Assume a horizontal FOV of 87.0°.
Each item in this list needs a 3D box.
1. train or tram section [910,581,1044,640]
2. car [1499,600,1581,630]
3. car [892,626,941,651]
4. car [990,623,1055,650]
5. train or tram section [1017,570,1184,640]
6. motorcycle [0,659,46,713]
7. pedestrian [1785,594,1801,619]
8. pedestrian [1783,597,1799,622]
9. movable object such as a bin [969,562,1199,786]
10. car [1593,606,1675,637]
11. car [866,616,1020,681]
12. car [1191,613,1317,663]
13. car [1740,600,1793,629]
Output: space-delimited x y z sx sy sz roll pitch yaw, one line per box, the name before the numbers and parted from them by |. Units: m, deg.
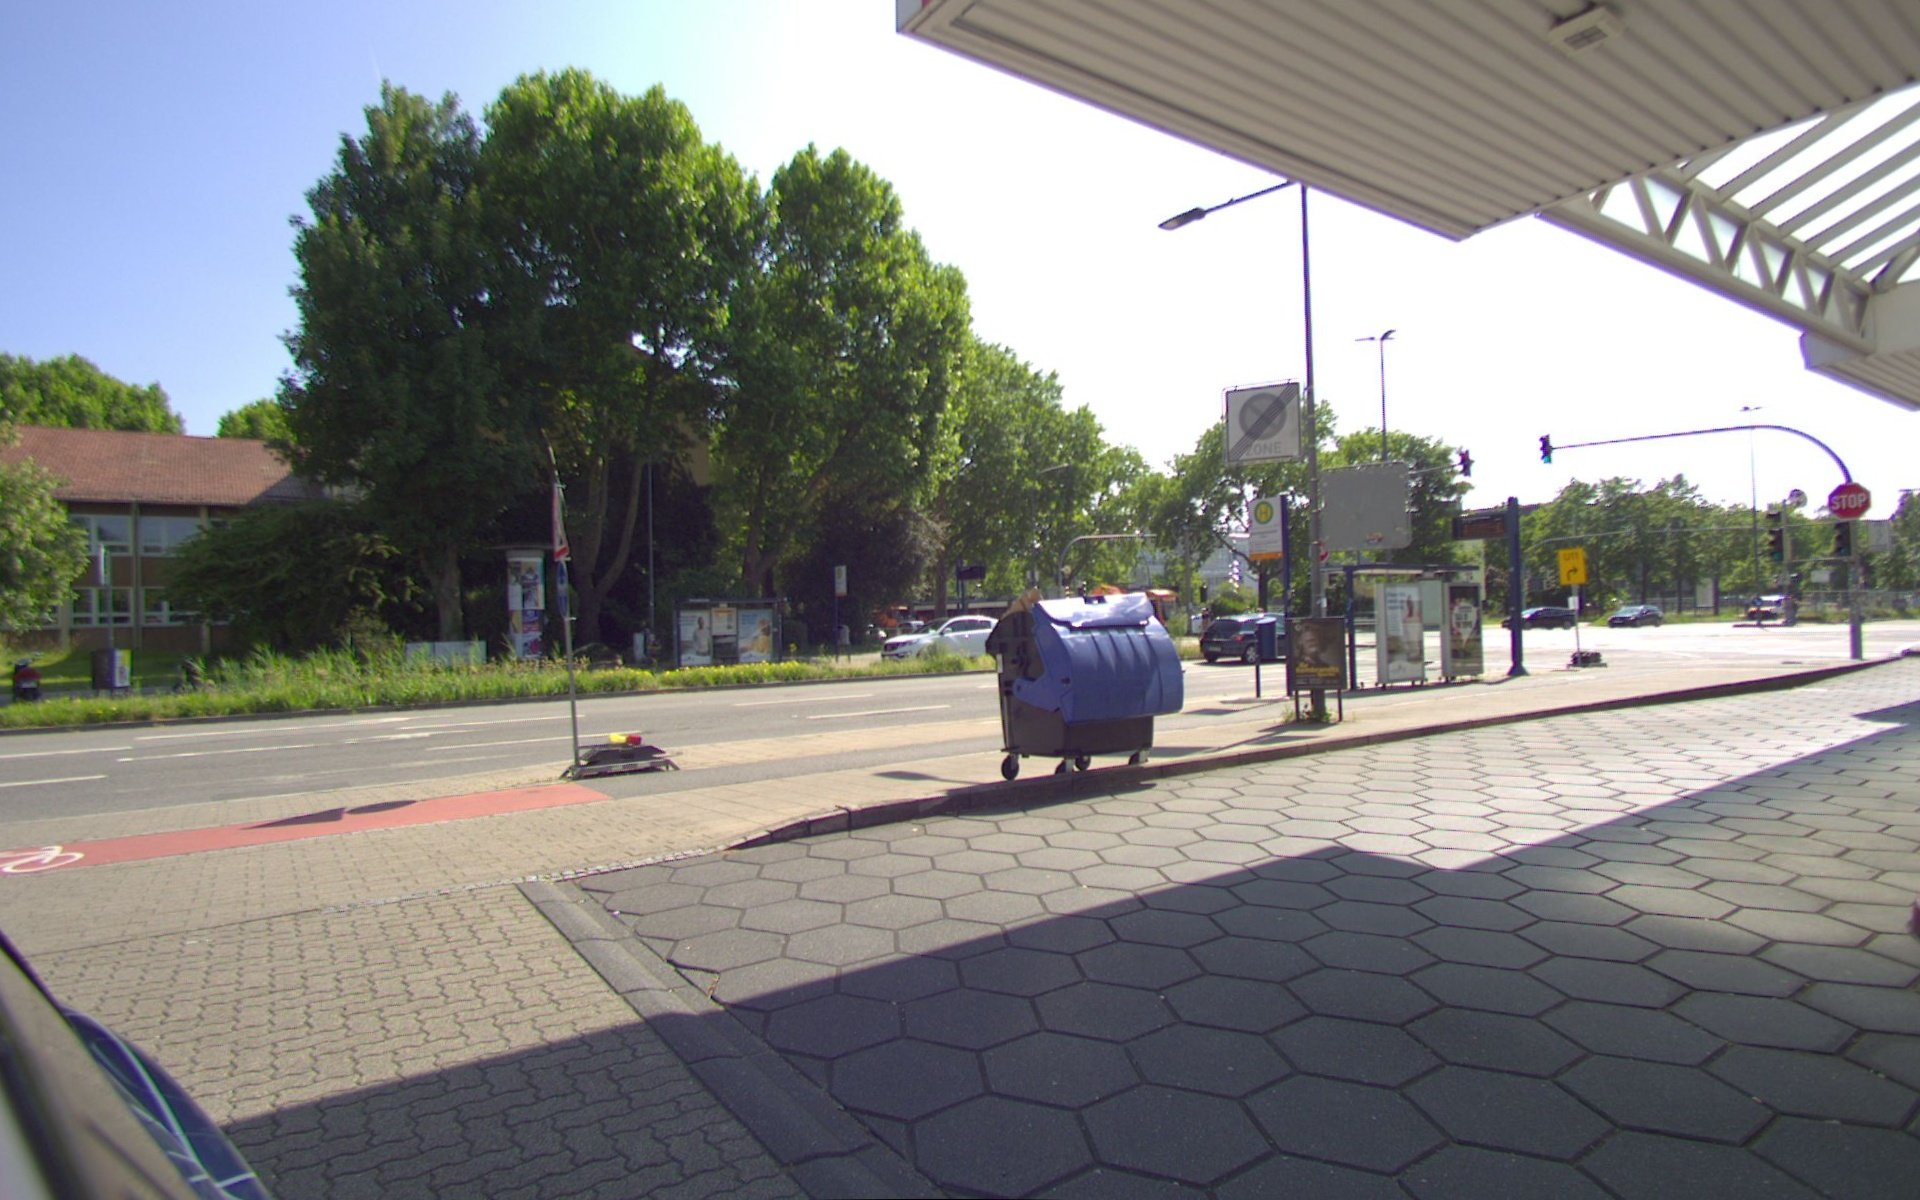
train or tram section | 1.057 1.057 86.024 2.290 4.524 15.964 0 -2 -35
car | 36.725 0.967 64.207 3.950 1.717 1.997 -2 -1 5
car | -3.319 2.958 76.856 1.838 1.702 4.010 0 -4 -33
car | 3.981 2.351 65.181 1.840 1.524 4.006 0 -4 -41
train or tram section | 9.773 0.588 73.666 2.290 4.524 14.980 0 -2 -35
motorcycle | -20.883 1.892 22.384 1.753 1.122 0.551 -2 -2 32
pedestrian | 49.512 0.374 60.140 0.505 1.480 0.566 -1 -2 -36
pedestrian | 48.771 0.556 59.369 0.505 1.480 0.566 -1 -2 -35
movable object such as a bin | 1.030 0.602 8.633 1.315 1.701 1.346 0 -4 -33
car | 44.122 1.419 66.287 4.142 1.819 2.004 -2 -3 -12
car | -0.492 1.461 31.230 4.317 1.782 2.005 -1 -1 -34
car | 9.205 1.142 31.552 3.936 1.377 1.689 -1 0 -35
car | 62.406 1.121 78.258 4.374 2.029 2.004 0 -4 -36
